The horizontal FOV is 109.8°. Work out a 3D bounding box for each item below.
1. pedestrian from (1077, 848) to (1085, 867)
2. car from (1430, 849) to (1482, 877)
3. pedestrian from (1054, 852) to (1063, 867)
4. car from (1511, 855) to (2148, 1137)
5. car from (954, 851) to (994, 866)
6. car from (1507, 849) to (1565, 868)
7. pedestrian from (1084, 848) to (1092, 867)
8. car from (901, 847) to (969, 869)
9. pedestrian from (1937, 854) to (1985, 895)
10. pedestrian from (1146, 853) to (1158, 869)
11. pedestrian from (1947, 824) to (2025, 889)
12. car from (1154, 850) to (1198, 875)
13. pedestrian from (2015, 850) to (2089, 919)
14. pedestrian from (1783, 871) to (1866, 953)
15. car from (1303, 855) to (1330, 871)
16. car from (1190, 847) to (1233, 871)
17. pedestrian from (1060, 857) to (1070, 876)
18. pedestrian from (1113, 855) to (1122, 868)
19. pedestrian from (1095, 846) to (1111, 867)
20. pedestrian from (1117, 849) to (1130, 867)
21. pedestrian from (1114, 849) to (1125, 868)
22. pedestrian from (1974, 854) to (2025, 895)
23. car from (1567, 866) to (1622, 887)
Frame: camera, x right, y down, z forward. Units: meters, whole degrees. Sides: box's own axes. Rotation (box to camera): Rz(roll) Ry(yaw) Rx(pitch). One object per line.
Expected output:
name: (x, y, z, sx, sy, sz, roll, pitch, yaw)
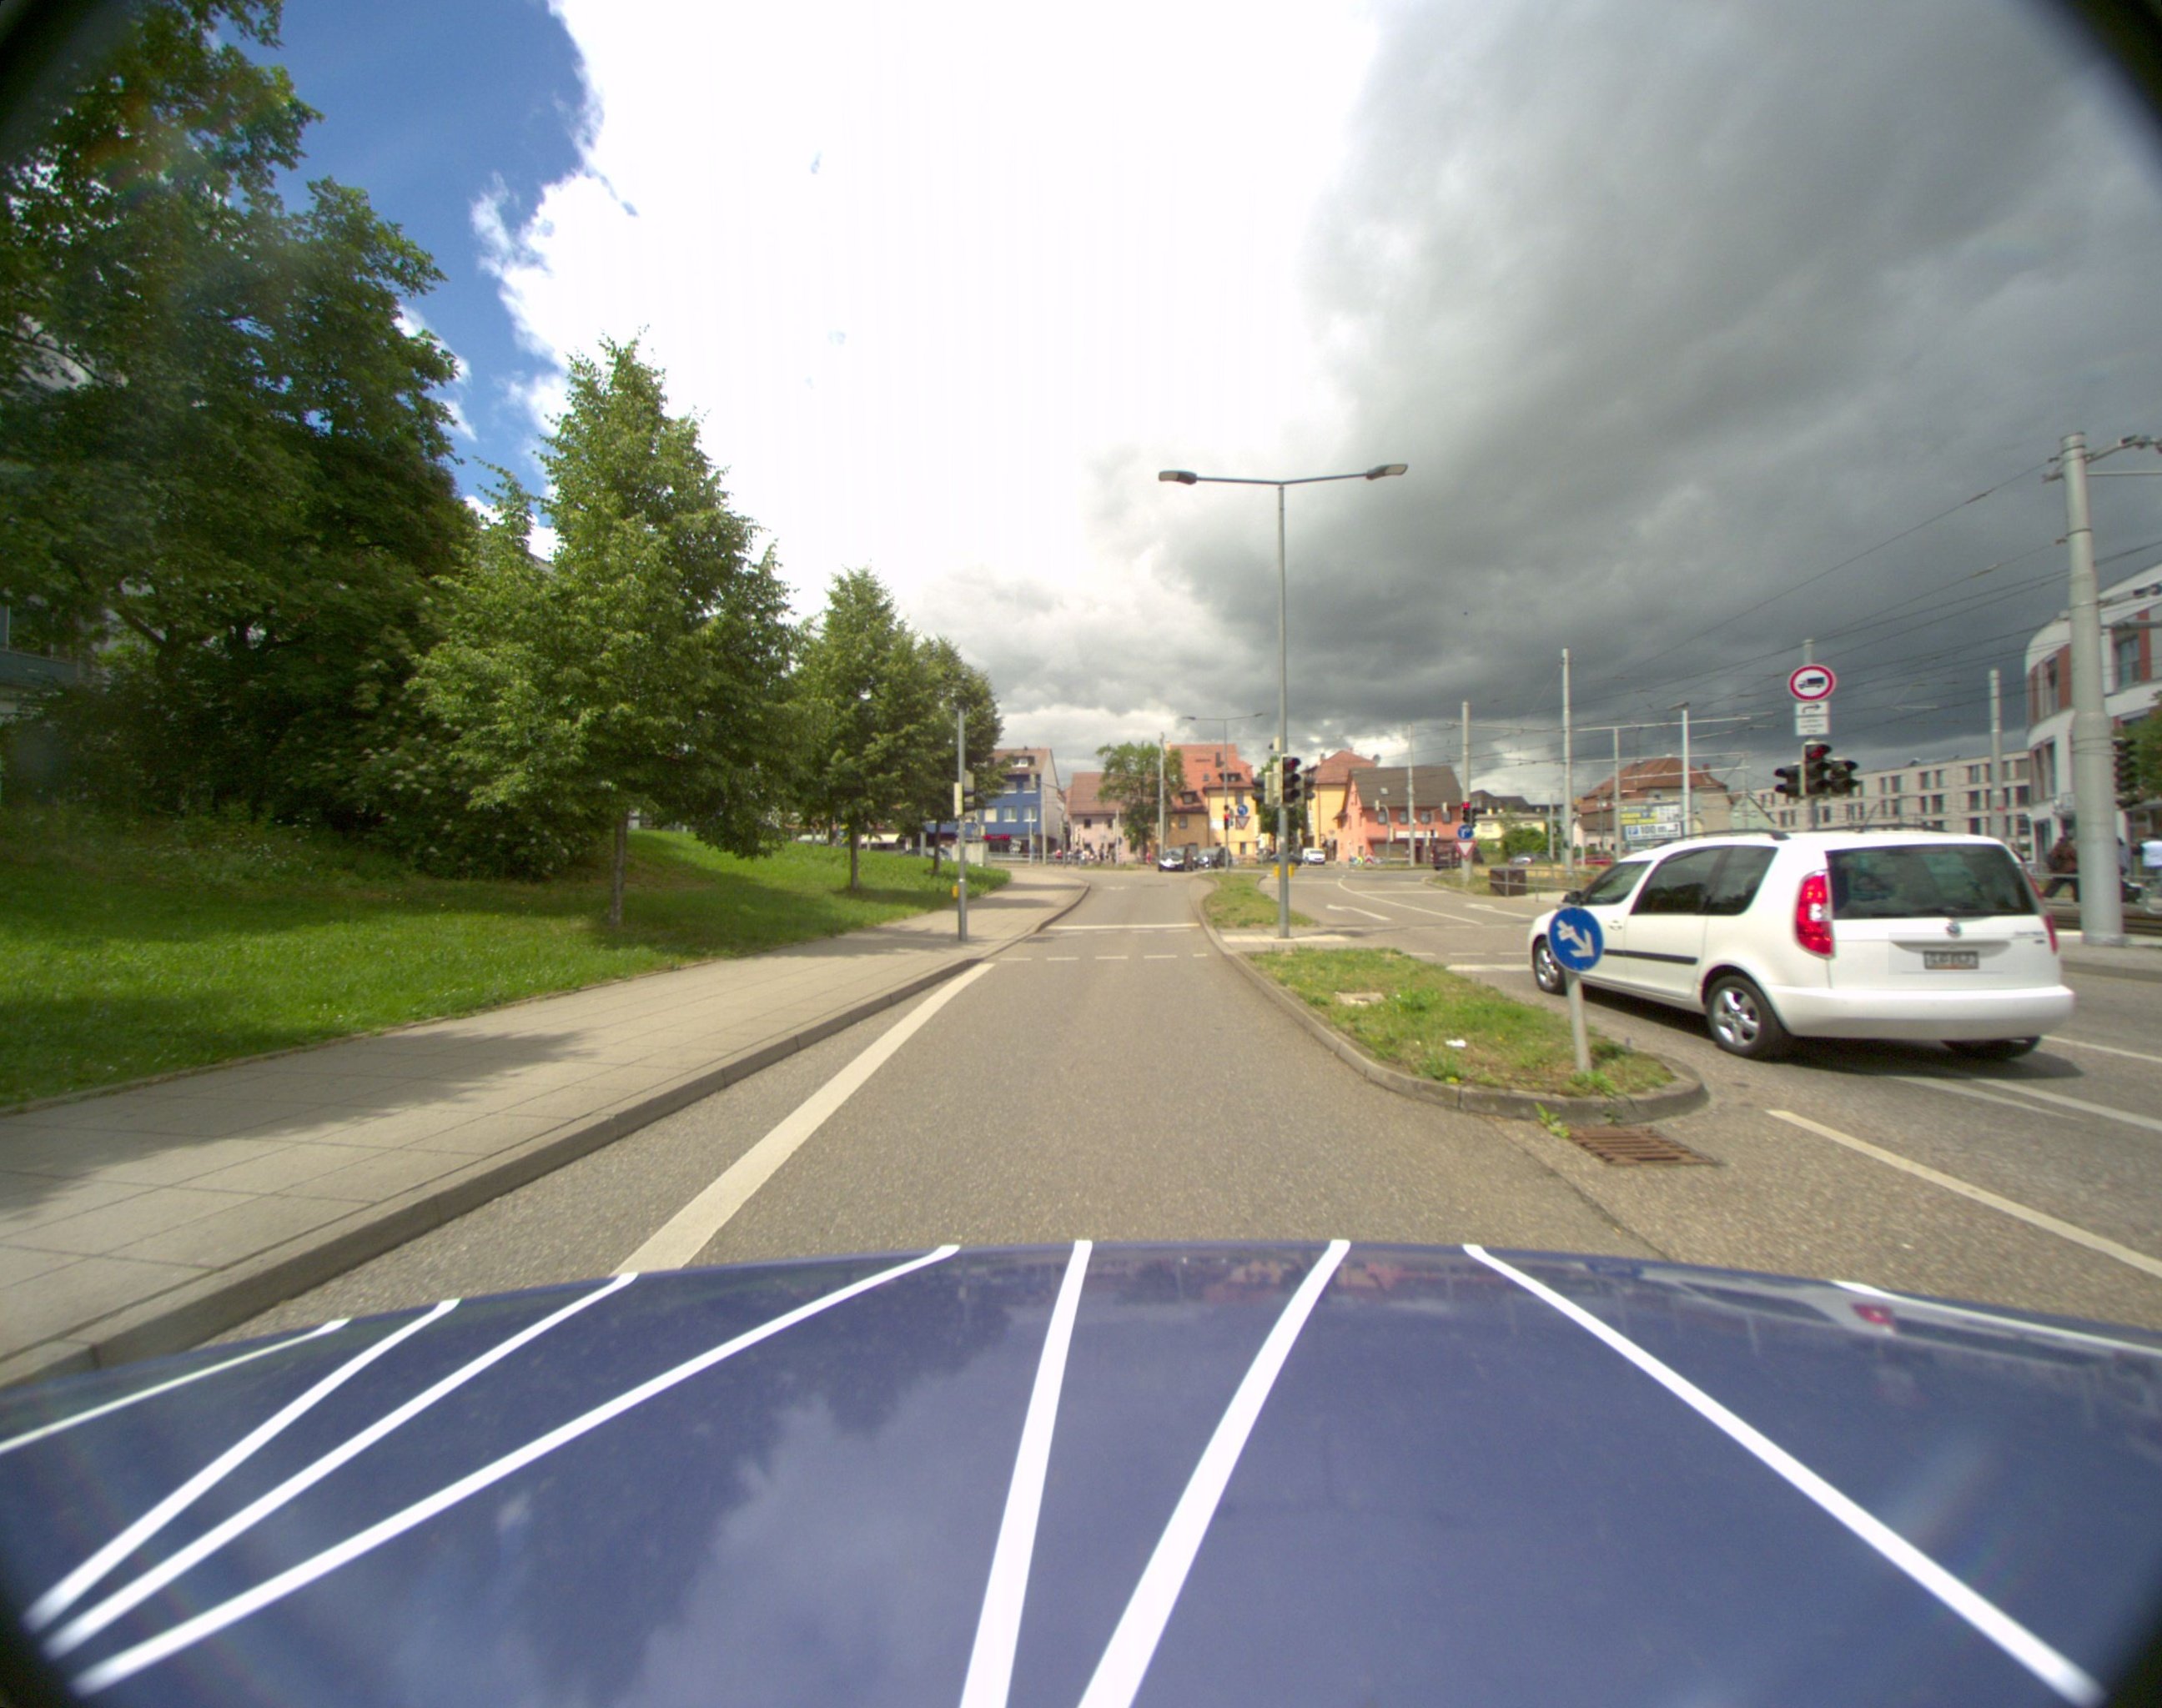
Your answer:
pedestrian: (-0.017, 0.333, 70.673, 0.675, 1.740, 0.587, 0, 1, -6)
car: (25.580, 0.580, 51.794, 1.994, 1.811, 5.082, 0, 1, 40)
pedestrian: (-2.109, 0.499, 71.992, 0.676, 1.367, 0.634, 1, 0, -20)
car: (5.540, 0.871, 6.524, 1.702, 1.639, 4.081, -1, -1, 6)
car: (-11.324, 0.478, 80.166, 4.002, 1.522, 1.711, 1, -2, -15)
car: (35.349, 0.309, 58.992, 5.061, 1.402, 1.798, -1, 1, -33)
pedestrian: (0.654, 0.355, 71.262, 0.675, 1.740, 0.587, 0, 1, -6)
car: (-10.186, 0.272, 52.901, 4.312, 1.456, 2.057, 0, 0, 30)
pedestrian: (44.586, 1.026, 38.534, 1.254, 2.002, 1.142, 1, 0, 29)
pedestrian: (6.545, 0.656, 69.673, 0.855, 1.472, 0.740, 1, 0, -23)
pedestrian: (23.095, 0.064, 19.411, 0.863, 1.627, 0.921, 1, 1, 9)
car: (6.073, 0.579, 48.262, 1.879, 1.420, 4.007, -1, -2, 20)
pedestrian: (22.508, 0.694, 17.626, 0.833, 1.587, 0.643, 0, 1, 12)
pedestrian: (14.499, 1.105, 14.844, 0.801, 1.531, 0.835, 0, 1, 3)
car: (28.218, 1.090, 91.175, 2.079, 1.886, 4.665, -1, -1, 6)
car: (9.649, 0.417, 55.840, 1.995, 1.639, 4.429, -1, -2, 25)
pedestrian: (-1.511, 1.169, 70.793, 0.753, 1.739, 0.586, 1, 0, -23)
pedestrian: (3.373, 0.675, 70.223, 0.676, 1.160, 0.586, 1, 0, -23)
pedestrian: (1.958, 0.244, 67.633, 0.970, 1.830, 0.823, 4, -2, -41)
pedestrian: (3.889, 0.366, 69.187, 0.893, 1.641, 0.824, 1, 0, -21)
pedestrian: (3.429, 0.388, 68.026, 0.694, 1.739, 0.750, 1, 0, -31)
pedestrian: (45.897, 0.985, 37.989, 1.254, 2.002, 1.142, 1, 0, 29)
car: (49.247, 2.150, 72.901, 3.999, 2.001, 2.000, 0, -2, -6)
